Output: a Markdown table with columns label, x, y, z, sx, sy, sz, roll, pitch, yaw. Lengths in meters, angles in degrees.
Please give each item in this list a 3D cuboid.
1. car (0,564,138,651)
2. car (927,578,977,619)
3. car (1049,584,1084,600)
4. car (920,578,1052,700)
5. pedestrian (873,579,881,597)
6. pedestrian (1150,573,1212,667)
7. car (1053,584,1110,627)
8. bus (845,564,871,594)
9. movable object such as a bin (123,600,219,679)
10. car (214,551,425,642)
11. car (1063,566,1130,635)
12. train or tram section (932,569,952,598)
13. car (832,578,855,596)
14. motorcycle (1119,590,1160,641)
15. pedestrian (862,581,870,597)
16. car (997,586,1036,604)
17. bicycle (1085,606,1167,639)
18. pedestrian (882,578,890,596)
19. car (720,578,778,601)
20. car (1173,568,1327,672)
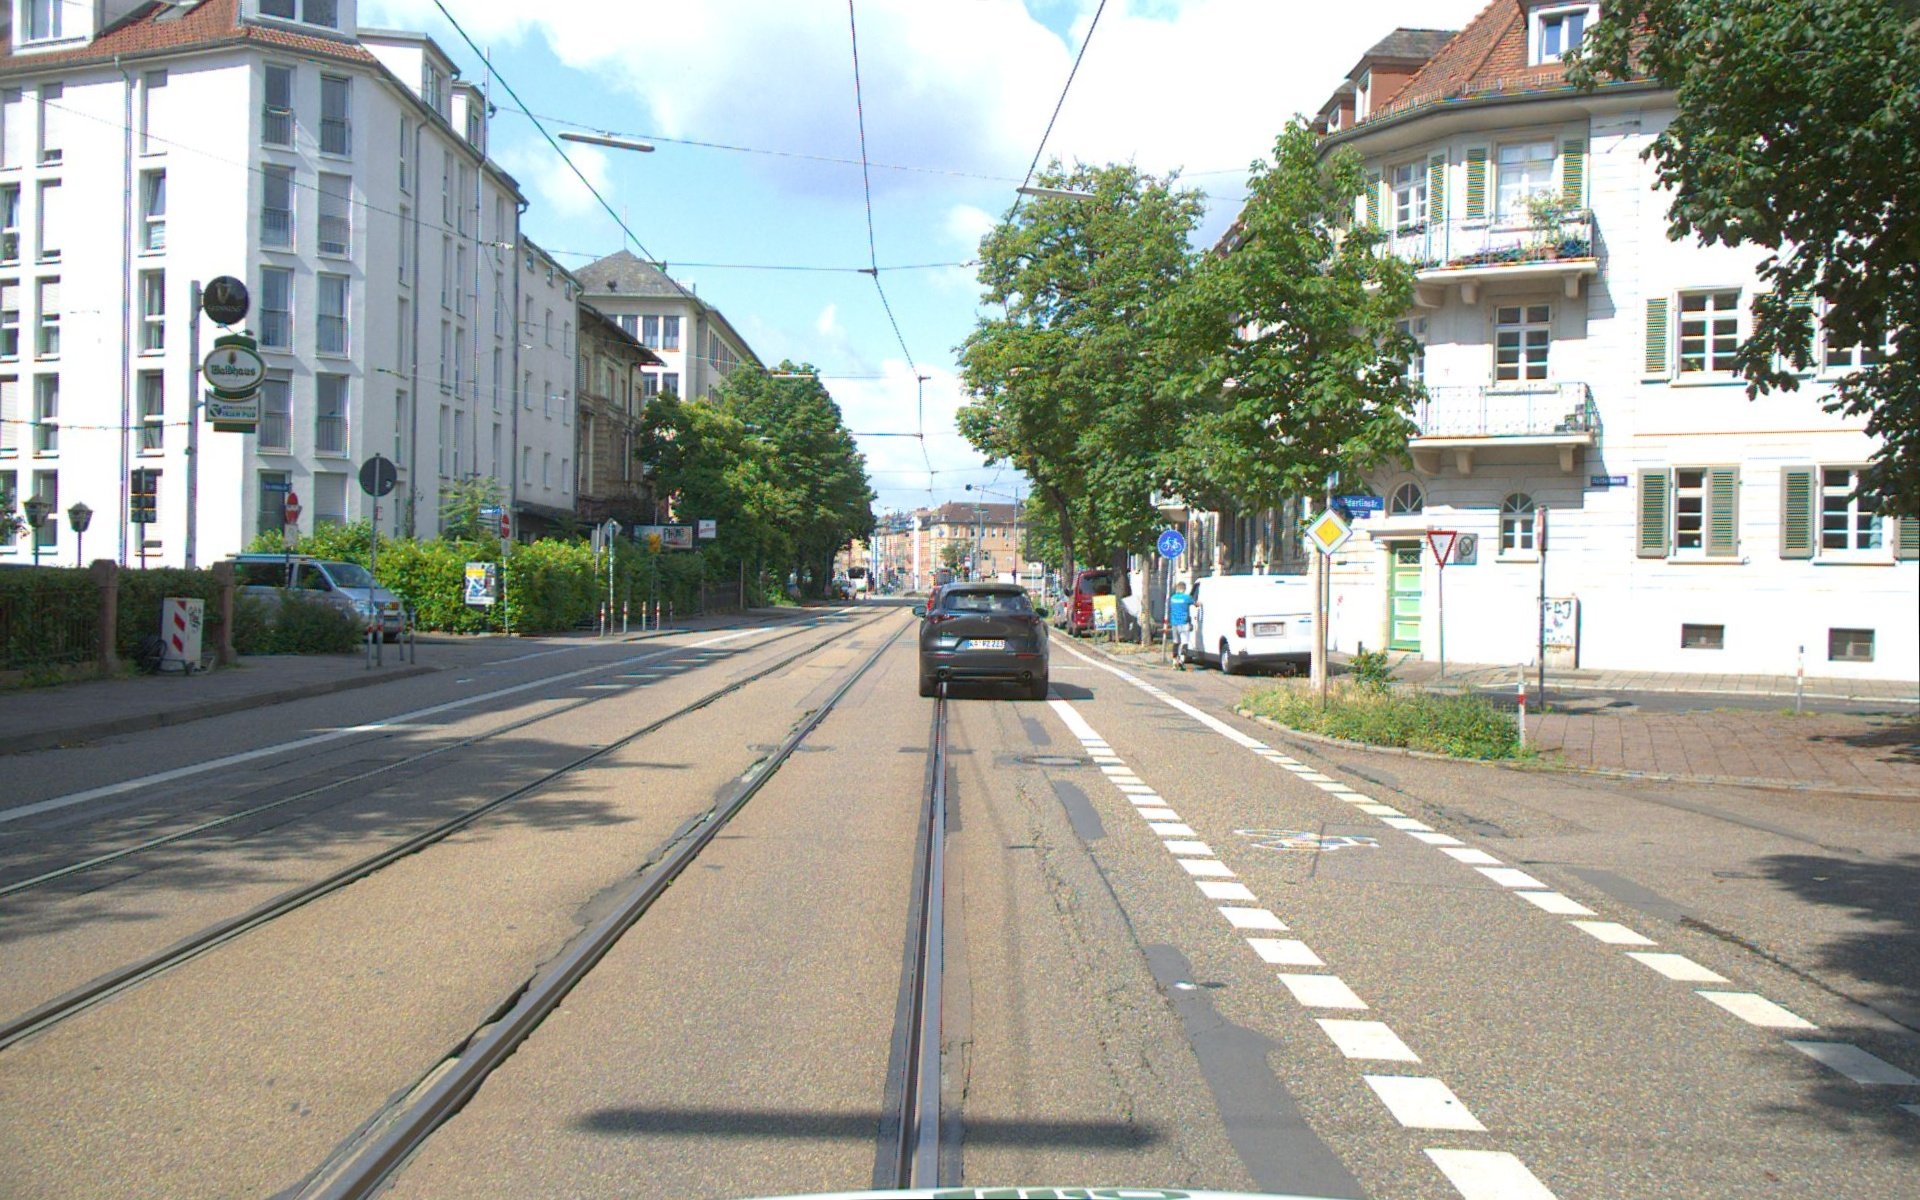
| label | x | y | z | sx | sy | sz | roll | pitch | yaw |
| --- | --- | --- | --- | --- | --- | --- | --- | --- | --- |
| car | -17.733 | 0.123 | 32.045 | 1.360 | 1.594 | 3.186 | 1 | 1 | 18 |
| car | -0.366 | -0.072 | 69.177 | 1.953 | 1.555 | 3.999 | 3 | 0 | -1 |
| car | 12.490 | -0.946 | 193.985 | 3.769 | 1.646 | 1.620 | 3 | 0 | -32 |
| car | 0.308 | 0.488 | 23.255 | 1.686 | 1.553 | 3.589 | 1 | 1 | -1 |
| pedestrian | -9.422 | -1.383 | 188.843 | 0.867 | 2.049 | 0.617 | 1 | 0 | -5 |
| pedestrian | 4.520 | 0.403 | 33.870 | 0.949 | 1.867 | 0.810 | 1 | 1 | -29 |
| car | 4.288 | 0.167 | 58.747 | 1.686 | 1.449 | 3.589 | 1 | 1 | -1 |
| bus | -13.013 | -2.664 | 210.309 | 2.637 | 3.480 | 11.003 | 3 | 0 | -6 |
| movable object such as a bin | -10.743 | 0.521 | 22.546 | 0.730 | 1.005 | 1.114 | 3 | 0 | -1 |
| car | -15.447 | -0.103 | 39.916 | 4.567 | 2.049 | 2.046 | 1 | 0 | 21 |
| car | 4.162 | 0.004 | 50.826 | 1.685 | 2.003 | 4.207 | 1 | 1 | 0 |
| train or tram section | -2.400 | -2.329 | 227.250 | 2.519 | 3.838 | 13.026 | 1 | 1 | 0 |
| car | -11.712 | -1.286 | 166.225 | 1.882 | 1.638 | 3.936 | 3 | 0 | 0 |
| motorcycle | 4.752 | 0.390 | 43.870 | 0.778 | 1.293 | 2.422 | 1 | 1 | -1 |
| pedestrian | -9.353 | -1.103 | 164.569 | 0.736 | 1.537 | 0.823 | 1 | 0 | -5 |
| car | 5.969 | -0.562 | 175.944 | 3.748 | 1.646 | 1.629 | 3 | 0 | -19 |
| bicycle | 4.728 | 0.647 | 47.146 | 2.229 | 0.876 | 0.671 | 1 | 0 | -2 |
| pedestrian | -8.416 | -1.446 | 188.855 | 0.867 | 2.049 | 0.617 | 1 | 0 | -5 |
| car | -13.985 | -0.725 | 109.853 | 3.673 | 1.309 | 1.609 | 3 | 0 | -5 |
| car | 5.855 | 0.344 | 34.023 | 1.753 | 1.972 | 4.984 | 1 | 1 | -7 |
